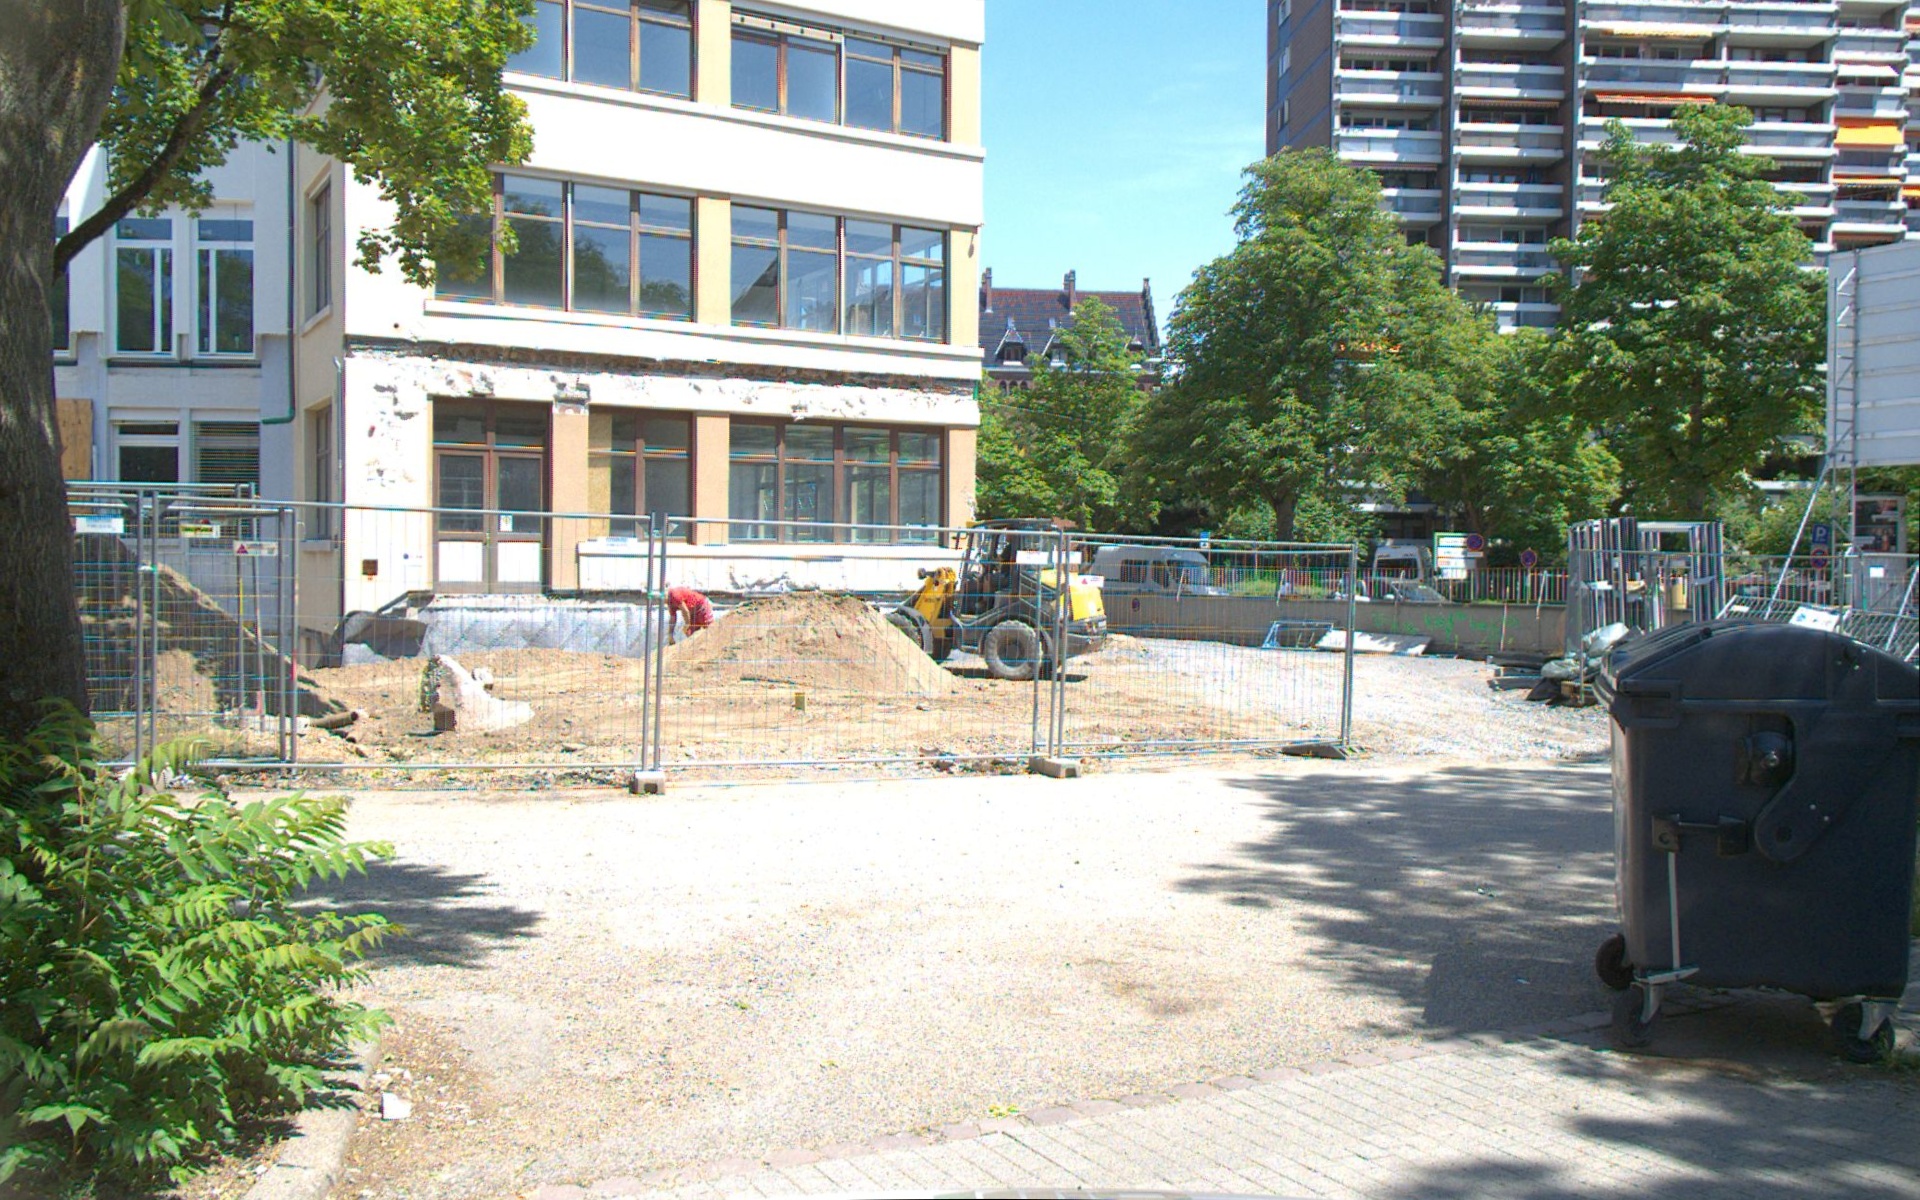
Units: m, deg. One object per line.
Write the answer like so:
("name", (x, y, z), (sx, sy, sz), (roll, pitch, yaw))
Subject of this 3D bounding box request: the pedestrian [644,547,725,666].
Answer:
("pedestrian", (-4.494, 0.096, 26.960), (0.902, 1.879, 0.979), (0, 0, 45))

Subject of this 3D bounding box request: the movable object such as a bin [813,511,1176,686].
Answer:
("movable object such as a bin", (0.563, -0.084, 26.569), (5.293, 2.507, 2.368), (2, 1, 22))

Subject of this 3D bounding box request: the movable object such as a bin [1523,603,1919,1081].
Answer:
("movable object such as a bin", (2.773, 0.761, 5.886), (1.053, 1.483, 1.377), (0, 0, -1))

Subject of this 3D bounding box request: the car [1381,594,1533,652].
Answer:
("car", (12.319, 0.543, 40.979), (3.676, 1.343, 1.597), (0, 1, -32))

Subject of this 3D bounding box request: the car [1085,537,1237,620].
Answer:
("car", (6.152, -0.657, 51.279), (1.973, 2.458, 5.189), (0, 1, -31))

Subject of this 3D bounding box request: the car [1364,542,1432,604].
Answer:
("car", (16.897, -1.024, 63.660), (2.139, 2.297, 4.870), (0, 1, 19))
